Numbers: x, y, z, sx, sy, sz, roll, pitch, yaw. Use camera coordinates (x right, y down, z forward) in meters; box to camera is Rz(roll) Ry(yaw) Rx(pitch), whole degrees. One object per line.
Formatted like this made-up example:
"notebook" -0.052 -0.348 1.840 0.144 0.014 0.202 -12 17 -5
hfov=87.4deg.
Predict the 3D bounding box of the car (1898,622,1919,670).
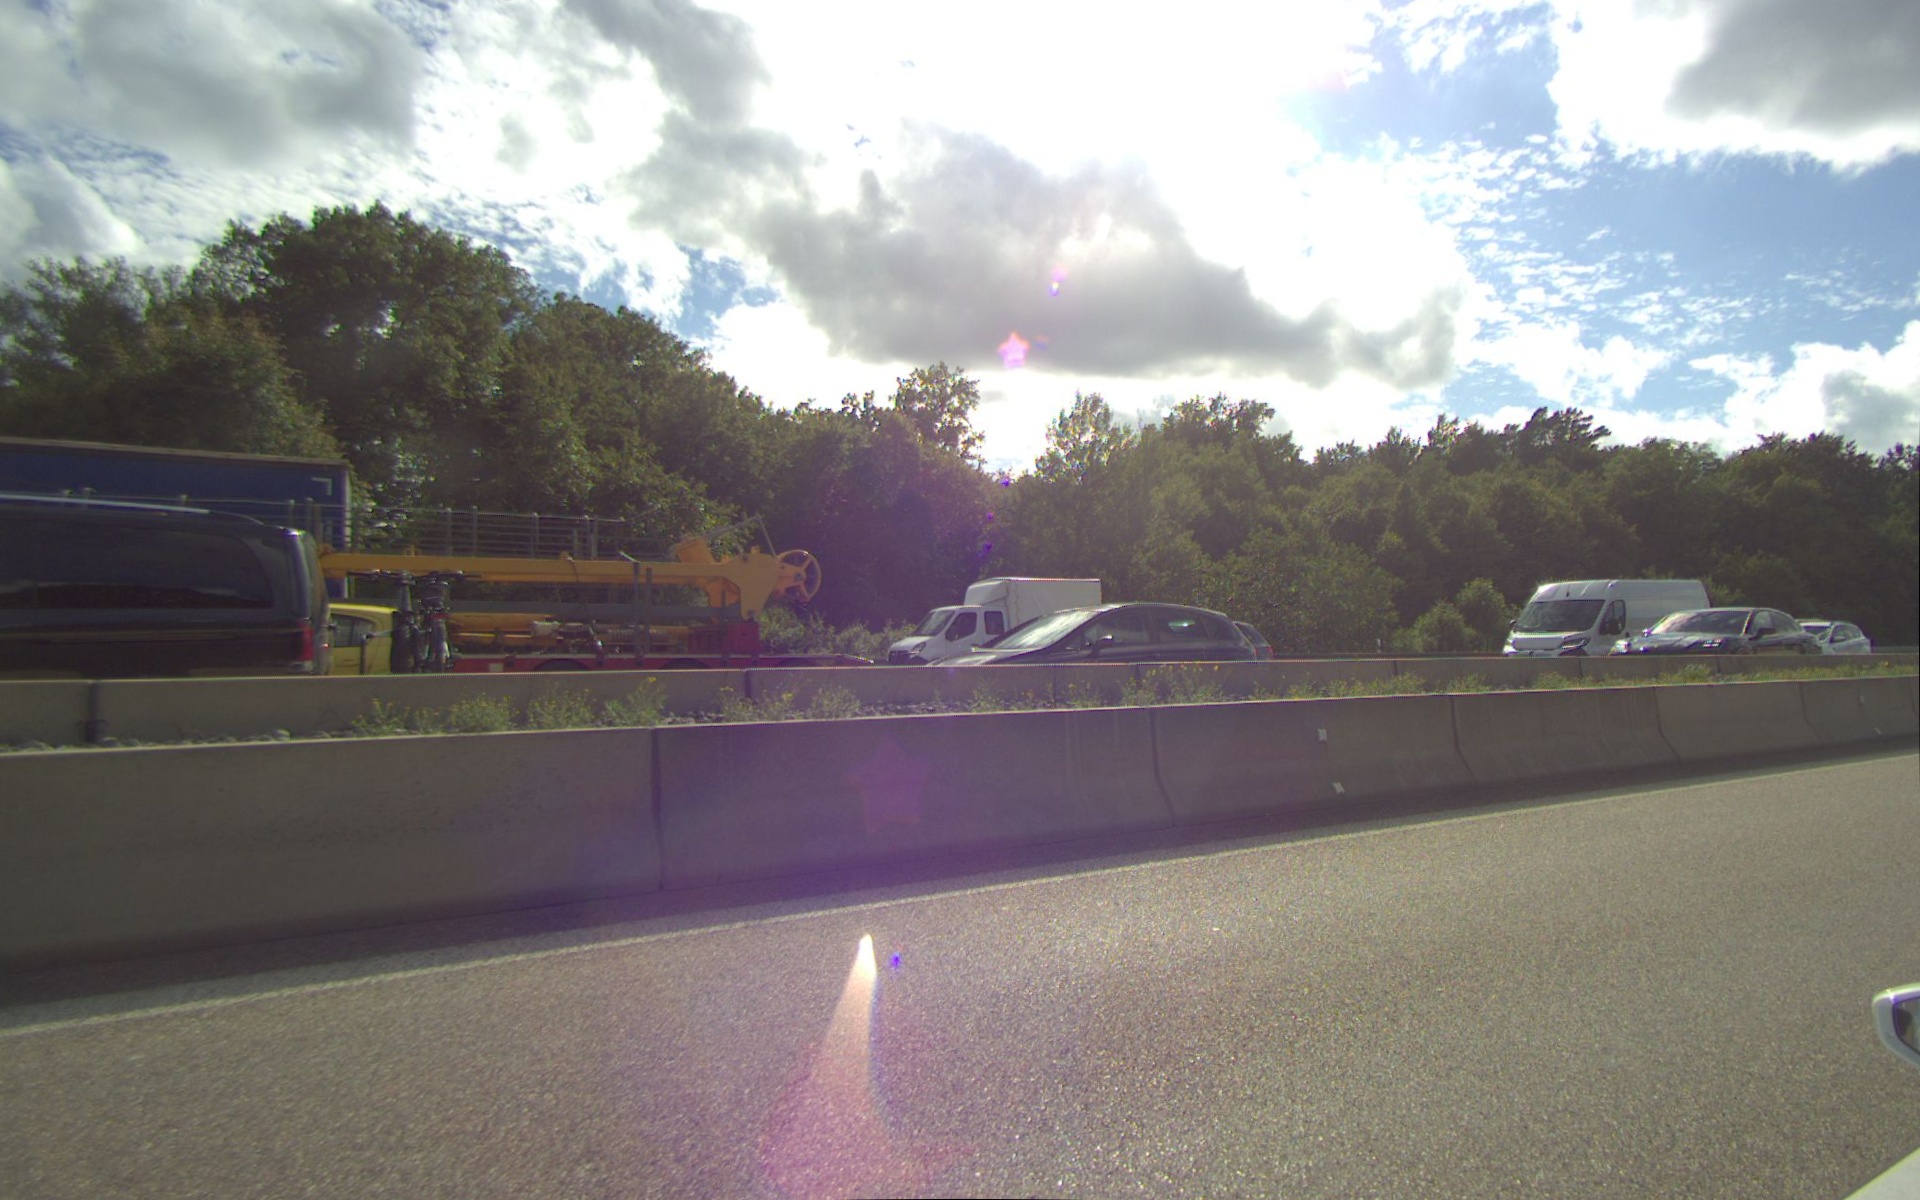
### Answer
"car" 34.548 1.665 34.599 4.470 1.617 1.985 3 -1 -29

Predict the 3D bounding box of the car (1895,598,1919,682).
"car" 25.391 1.021 24.933 4.464 2.040 1.874 1 1 -29

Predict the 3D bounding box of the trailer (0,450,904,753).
"trailer" -7.664 0.079 14.615 14.058 3.380 2.714 1 0 -31

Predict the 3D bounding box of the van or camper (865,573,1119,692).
"van or camper" 1.026 0.941 29.143 7.114 3.118 2.559 2 -1 -31

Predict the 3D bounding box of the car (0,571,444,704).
"car" -7.447 0.342 10.063 3.954 1.142 1.577 2 0 -31

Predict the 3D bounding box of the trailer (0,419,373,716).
"trailer" -16.340 -0.526 14.094 13.875 4.175 2.796 1 1 -30

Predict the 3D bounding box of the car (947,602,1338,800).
"car" 2.126 1.052 11.284 4.247 1.840 1.678 3 -1 -31

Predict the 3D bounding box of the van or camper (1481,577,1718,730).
"van or camper" 15.071 1.164 23.552 6.173 3.215 2.127 1 1 -31

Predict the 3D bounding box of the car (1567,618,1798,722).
"car" 13.012 1.192 18.042 4.240 1.612 1.826 2 0 -31

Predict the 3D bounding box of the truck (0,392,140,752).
"truck" -13.608 -0.376 10.985 6.775 3.991 2.761 1 0 -31

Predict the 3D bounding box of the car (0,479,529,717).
"car" -6.199 -0.034 6.405 6.162 1.367 1.805 2 0 -31

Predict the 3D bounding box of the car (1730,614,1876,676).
"car" 24.719 1.316 29.441 3.952 1.617 1.985 3 -1 -29
